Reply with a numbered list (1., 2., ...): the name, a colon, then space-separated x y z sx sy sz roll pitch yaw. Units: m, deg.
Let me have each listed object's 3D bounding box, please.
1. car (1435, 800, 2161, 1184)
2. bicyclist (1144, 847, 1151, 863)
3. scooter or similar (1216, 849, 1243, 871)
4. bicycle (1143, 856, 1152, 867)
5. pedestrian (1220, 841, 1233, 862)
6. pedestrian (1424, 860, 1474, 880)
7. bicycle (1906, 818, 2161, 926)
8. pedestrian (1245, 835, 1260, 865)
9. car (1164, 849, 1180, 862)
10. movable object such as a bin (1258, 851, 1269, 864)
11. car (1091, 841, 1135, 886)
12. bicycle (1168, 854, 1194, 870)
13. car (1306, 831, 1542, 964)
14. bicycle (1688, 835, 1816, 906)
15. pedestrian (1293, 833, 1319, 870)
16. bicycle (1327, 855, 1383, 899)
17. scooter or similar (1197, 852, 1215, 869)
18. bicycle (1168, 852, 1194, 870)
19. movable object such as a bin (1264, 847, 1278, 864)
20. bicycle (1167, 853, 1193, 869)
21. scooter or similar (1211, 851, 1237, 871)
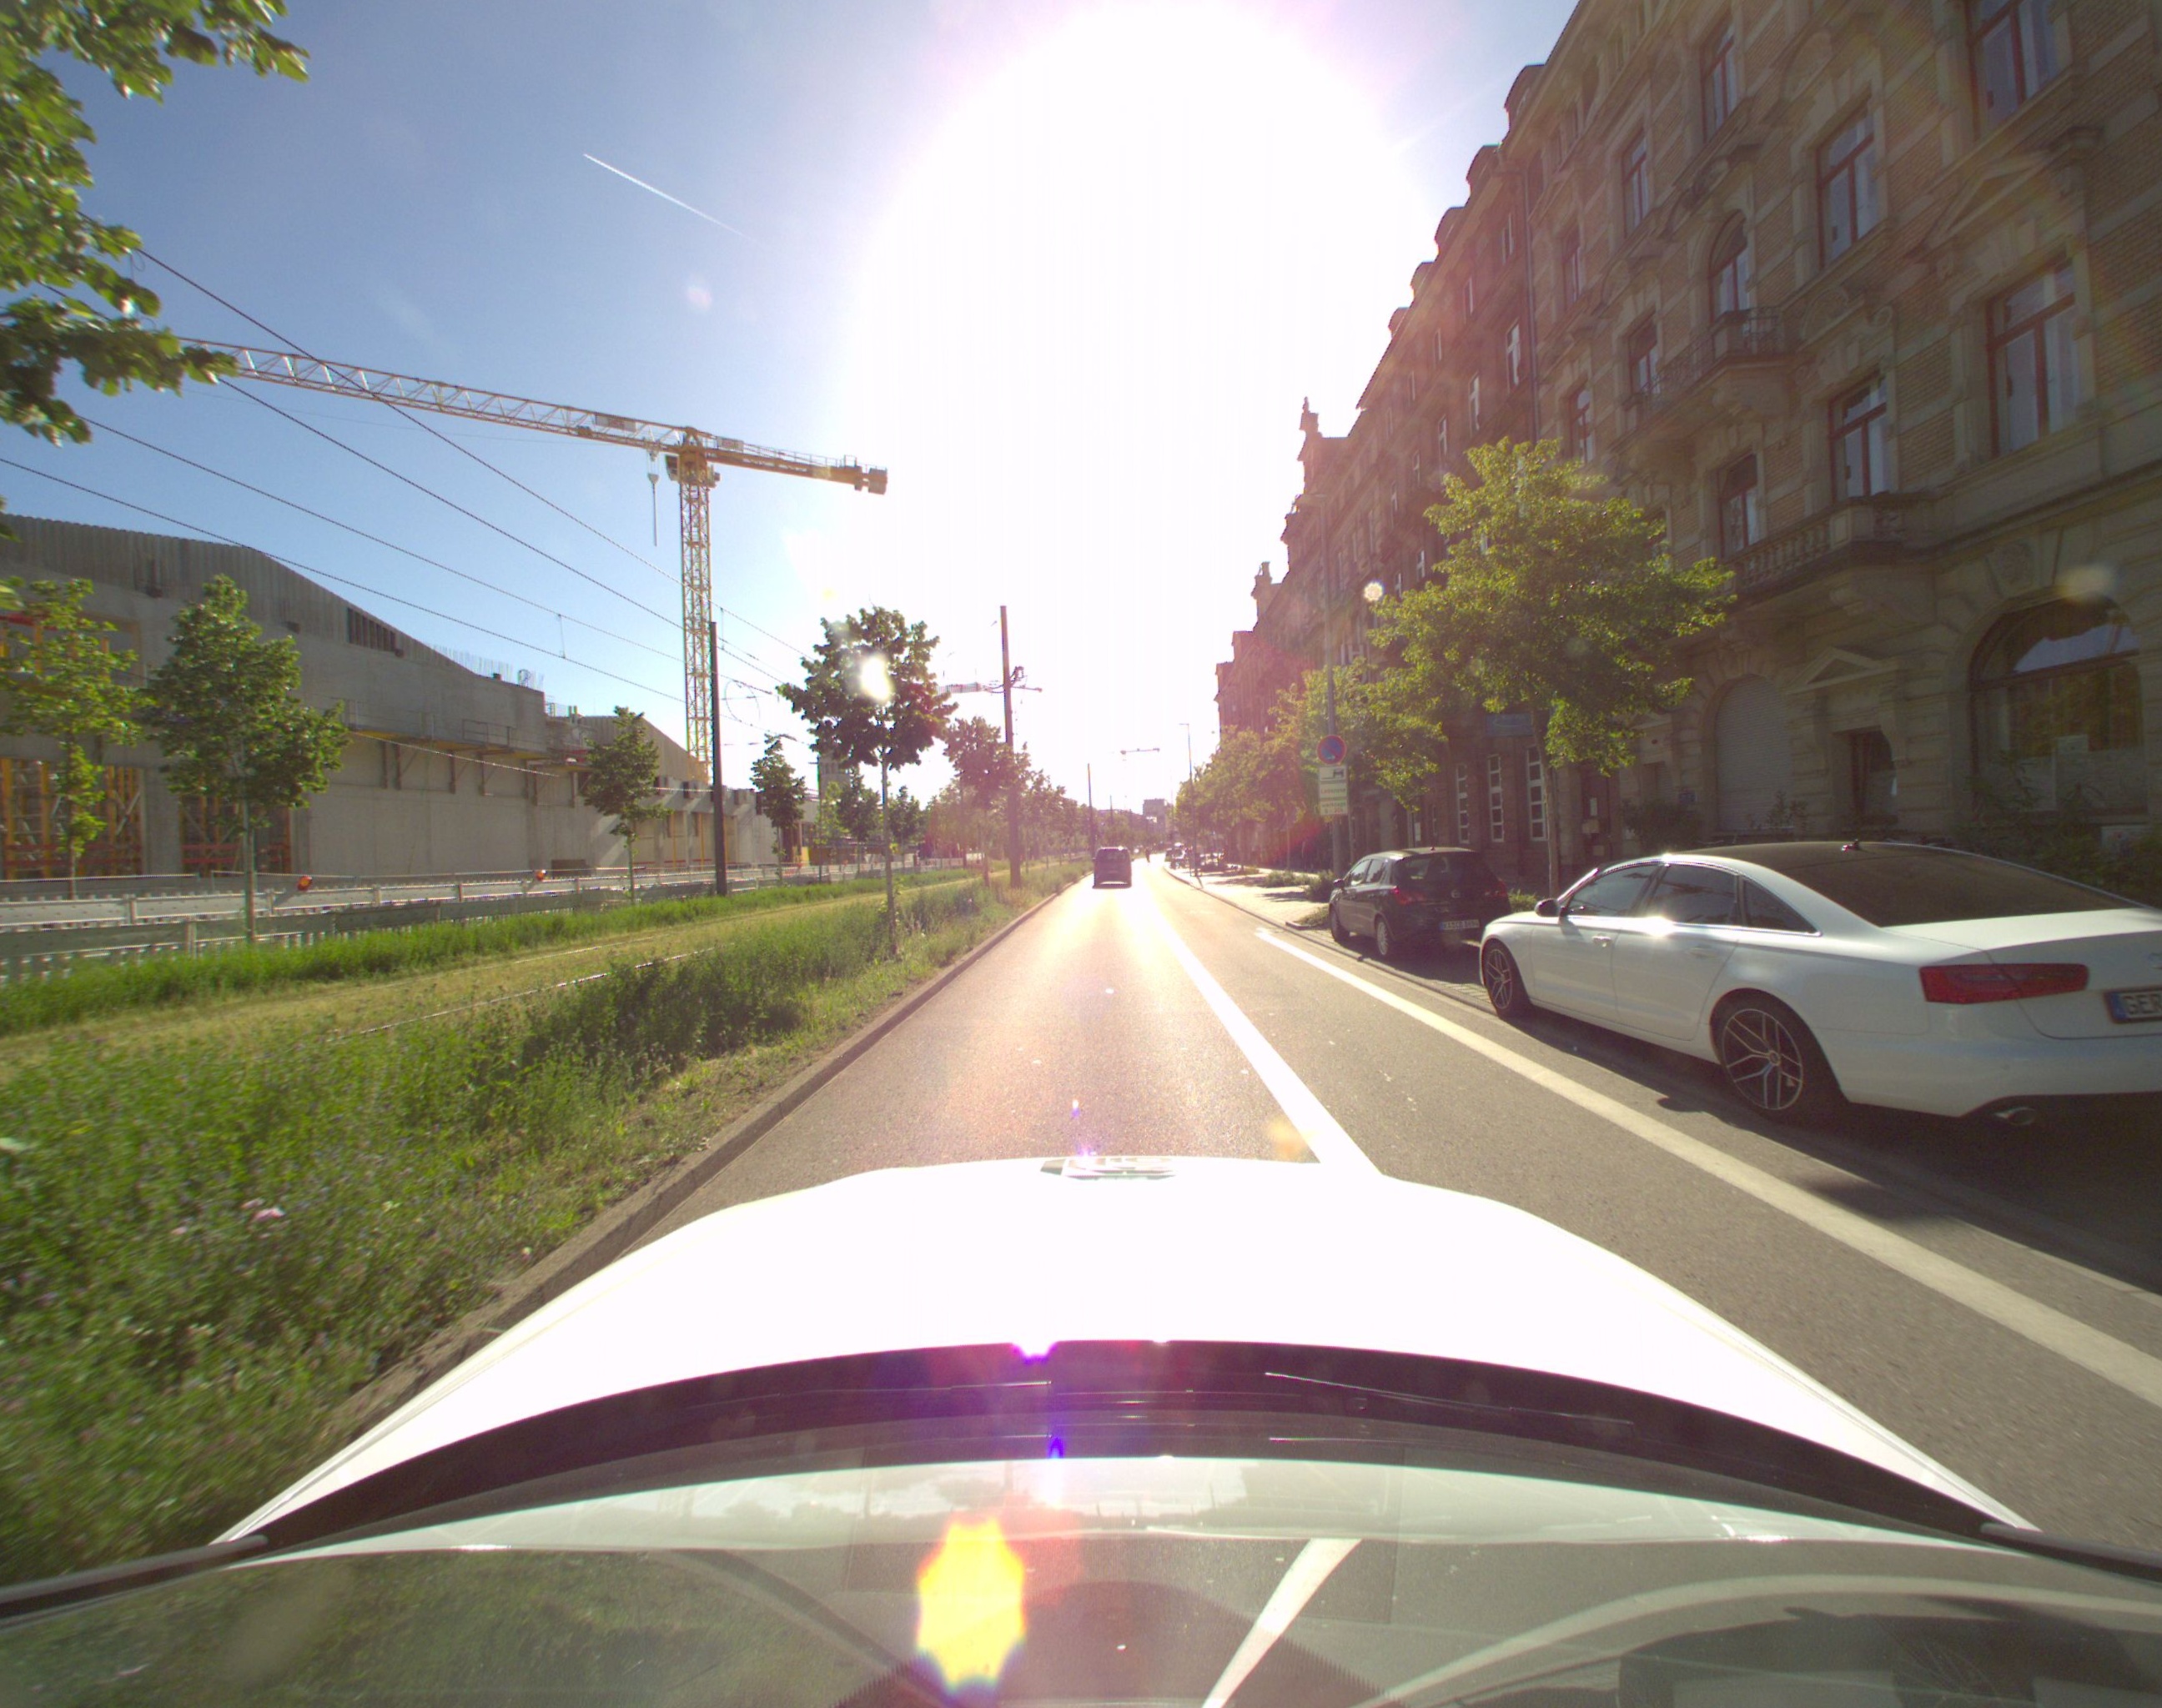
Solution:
1. car: 4.599 0.549 5.880 1.944 1.495 5.108 -4 0 2
2. bicyclist: 6.847 0.133 84.064 0.680 1.584 0.840 -2 0 2
3. scooter or similar: 9.048 0.388 49.570 1.469 1.216 0.601 -4 1 -2
4. bicycle: 6.851 0.769 84.026 0.698 1.091 2.278 -2 0 2
5. pedestrian: 12.439 -0.197 69.603 0.841 1.742 0.887 -3 -1 3
6. pedestrian: 11.856 0.517 26.310 0.770 0.553 2.008 -3 0 2
7. bicycle: 11.081 0.182 9.492 0.718 1.090 2.200 -3 0 2
8. pedestrian: 11.840 -0.268 56.235 0.814 2.014 1.046 -1 -3 2
9. car: 11.796 0.223 105.315 1.978 1.638 4.198 -1 -1 7
10. movable object such as a bin: 13.044 0.254 58.129 0.602 0.916 0.650 -2 0 -2
11. car: 1.499 0.469 39.067 1.986 2.014 4.000 -1 -1 1
12. bicycle: 7.943 0.612 64.743 1.821 1.078 0.664 -5 -1 -4
13. car: 4.995 0.582 12.611 1.877 1.569 4.222 -4 -1 2
14. bicycle: 11.314 0.258 13.834 0.479 1.090 2.058 -3 0 2
15. pedestrian: 10.765 -0.120 38.952 0.992 1.731 0.866 -1 -1 1
16. bicycle: 7.508 0.609 22.422 0.649 1.120 2.169 -4 -1 -3
17. scooter or similar: 9.224 0.476 60.318 1.214 1.106 0.784 -4 0 4
18. bicycle: 7.749 0.535 63.213 1.875 1.233 0.499 -5 -1 -4
19. movable object such as a bin: 12.784 0.077 54.838 0.723 1.098 0.747 -2 0 -3
20. bicycle: 8.017 0.584 66.259 1.912 1.121 0.664 -5 -1 -4
21. scooter or similar: 8.862 0.413 50.337 1.473 1.216 0.600 0 0 -9
